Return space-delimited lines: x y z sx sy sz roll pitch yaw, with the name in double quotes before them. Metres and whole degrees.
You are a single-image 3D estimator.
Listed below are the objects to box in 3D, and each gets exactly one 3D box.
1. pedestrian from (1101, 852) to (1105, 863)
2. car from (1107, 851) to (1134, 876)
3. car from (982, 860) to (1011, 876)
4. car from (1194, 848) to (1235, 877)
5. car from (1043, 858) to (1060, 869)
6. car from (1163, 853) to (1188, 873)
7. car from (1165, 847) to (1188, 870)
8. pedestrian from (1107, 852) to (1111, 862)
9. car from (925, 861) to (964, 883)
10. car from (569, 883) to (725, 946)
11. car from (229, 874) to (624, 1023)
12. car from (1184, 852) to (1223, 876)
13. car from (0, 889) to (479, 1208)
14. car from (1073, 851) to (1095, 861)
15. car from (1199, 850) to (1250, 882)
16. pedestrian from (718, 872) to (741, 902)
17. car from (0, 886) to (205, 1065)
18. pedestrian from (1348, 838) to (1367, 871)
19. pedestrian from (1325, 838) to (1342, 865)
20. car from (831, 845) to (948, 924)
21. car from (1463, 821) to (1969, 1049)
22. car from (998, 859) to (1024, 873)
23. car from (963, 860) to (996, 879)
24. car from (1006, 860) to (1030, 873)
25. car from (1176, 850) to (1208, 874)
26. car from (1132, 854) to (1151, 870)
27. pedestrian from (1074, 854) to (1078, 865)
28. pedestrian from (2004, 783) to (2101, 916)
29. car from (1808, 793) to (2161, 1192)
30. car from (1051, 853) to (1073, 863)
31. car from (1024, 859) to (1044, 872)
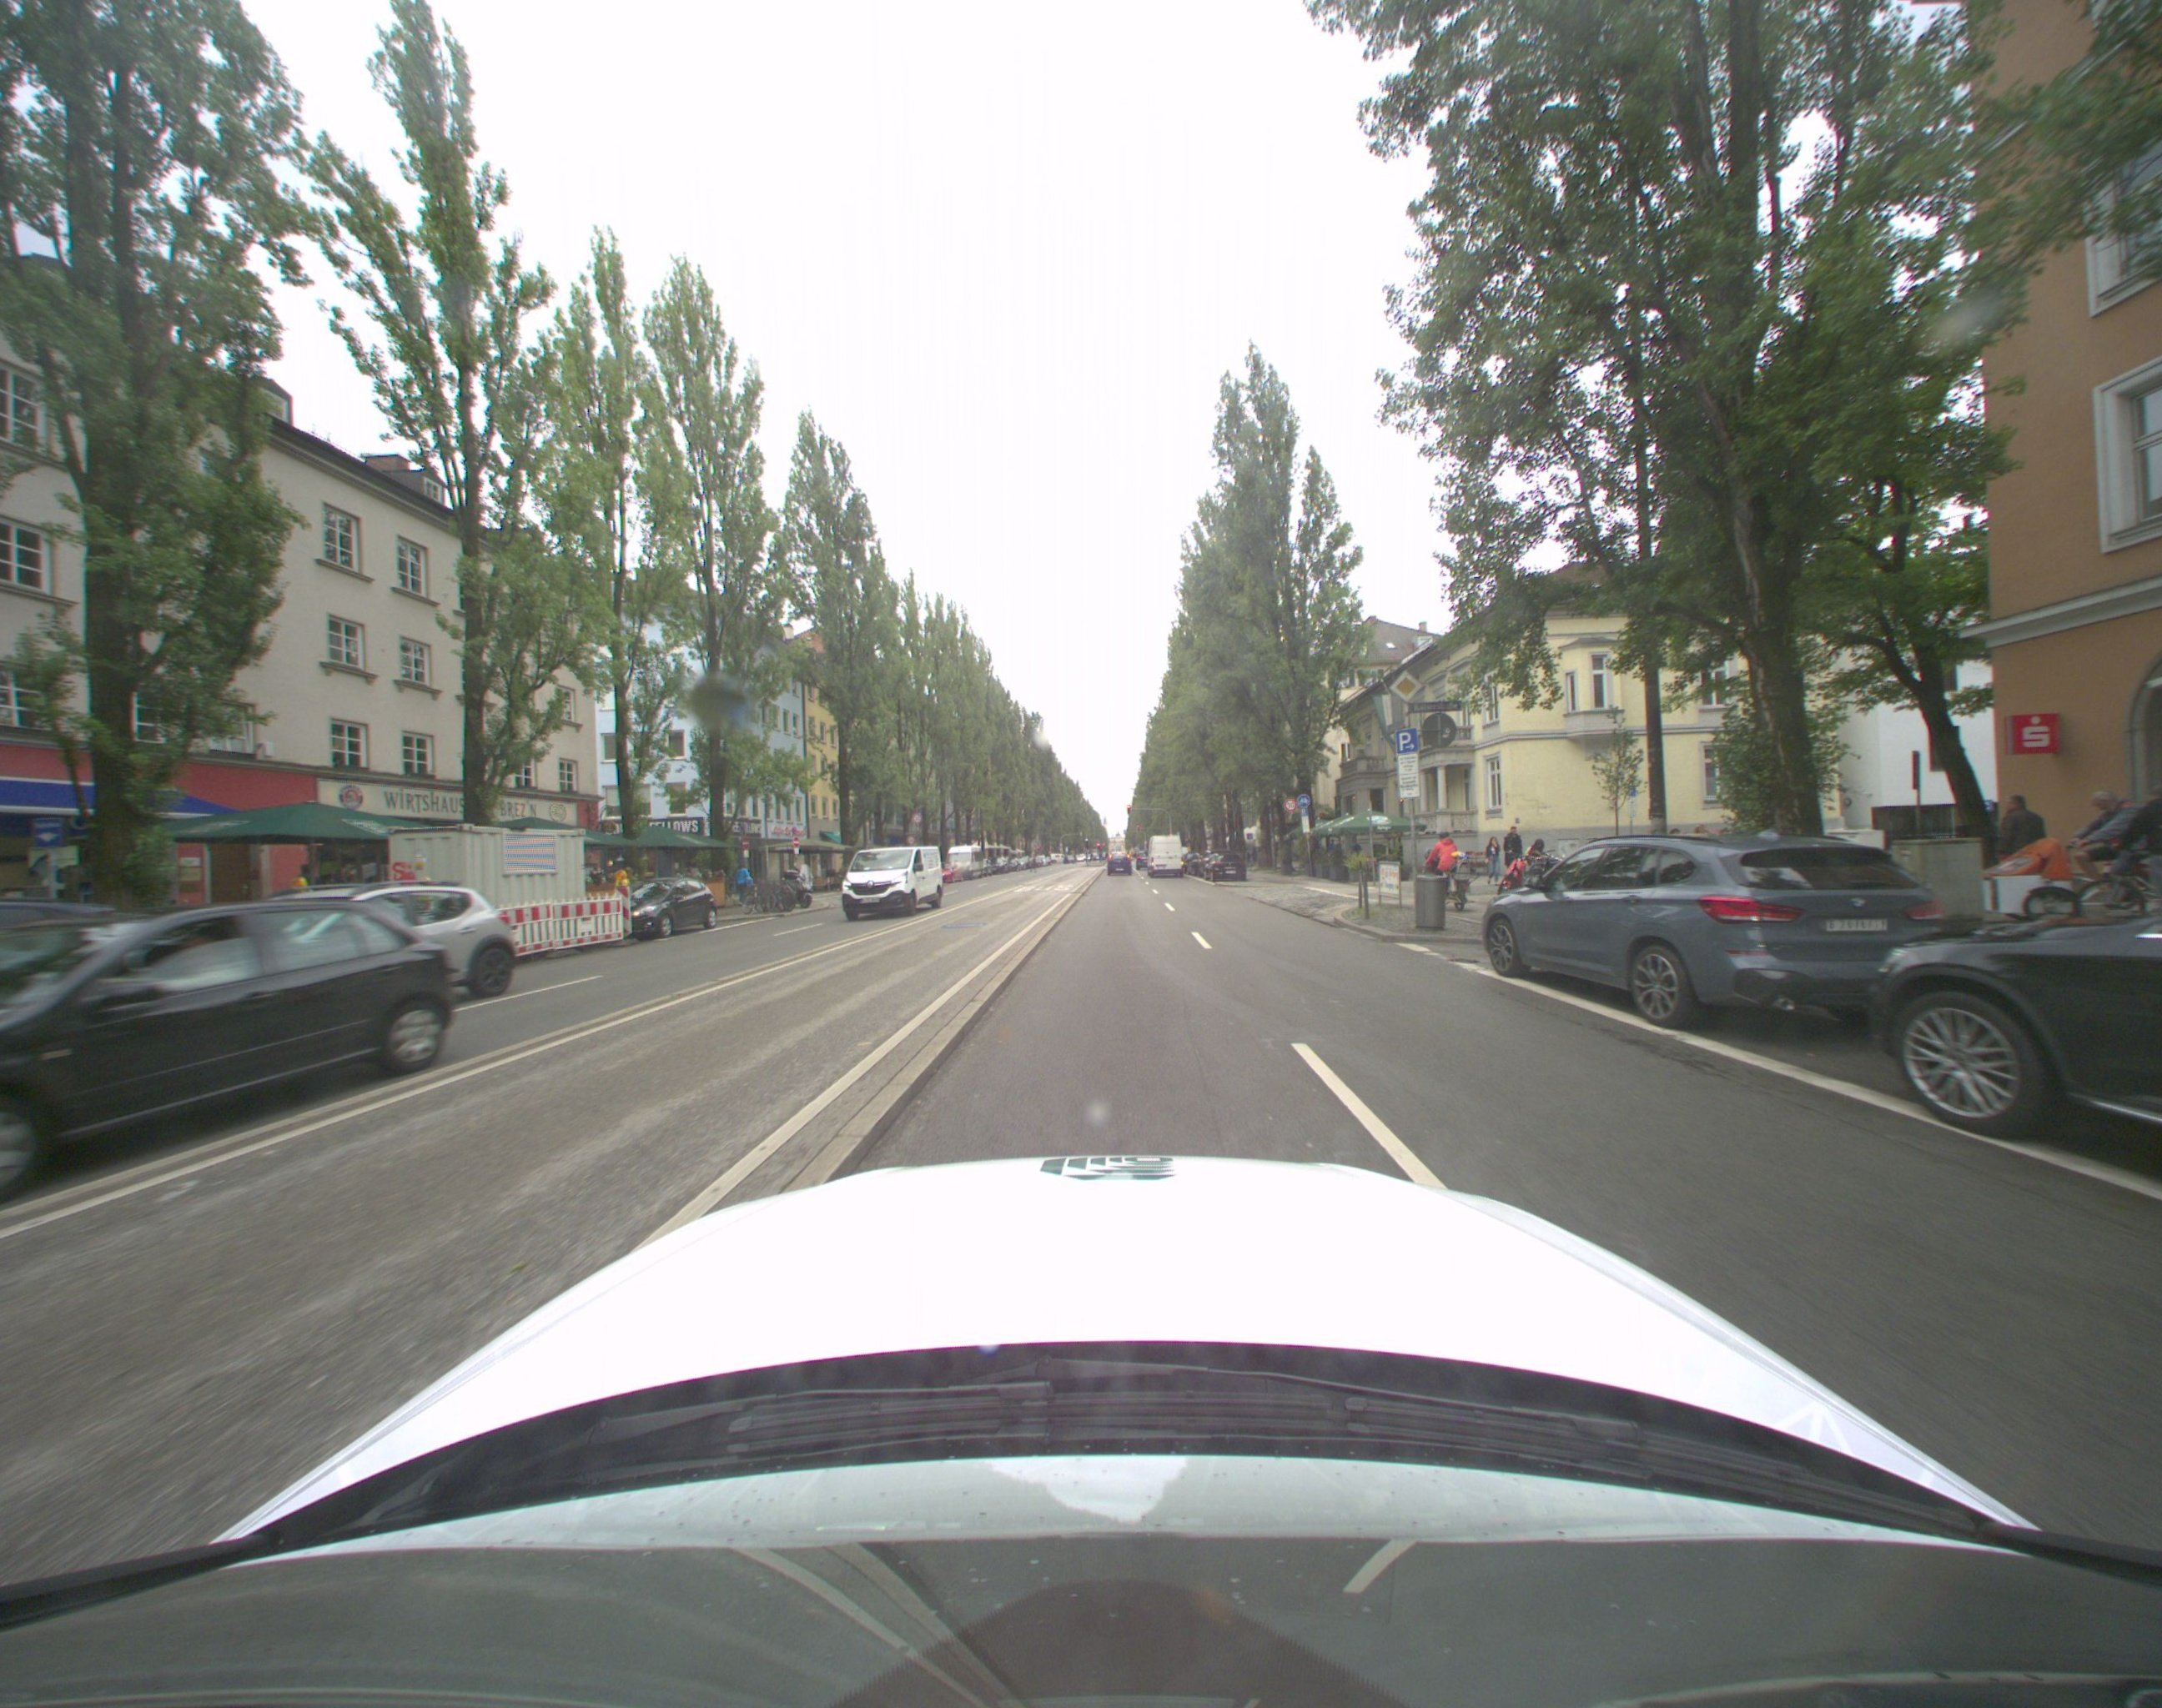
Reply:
"pedestrian" 3.654 0.544 133.893 0.551 1.716 0.493 -3 0 3
"car" 2.762 0.653 56.579 1.752 1.619 3.749 -1 -1 3
"car" -7.914 1.317 76.414 1.985 1.486 4.004 -1 -1 4
"car" 7.671 0.474 47.051 1.778 1.525 3.942 -2 0 2
"car" -4.415 1.393 122.427 1.808 1.531 3.803 -6 -1 5
"car" 7.813 0.759 67.735 1.756 1.596 4.002 -1 -1 2
"car" 8.616 0.391 73.781 1.798 1.992 4.002 -1 -1 2
"pedestrian" 4.585 0.513 135.039 0.551 1.716 0.493 -3 0 3
"car" -9.117 1.187 54.669 1.788 1.429 4.002 -1 -1 2
"car" -10.692 1.445 20.401 1.803 1.250 3.702 -2 0 1
"car" -8.486 1.115 11.123 1.816 1.532 4.007 -3 -1 7
"car" 7.732 0.648 51.829 1.986 1.464 4.002 -1 -1 2
"car" -6.083 1.049 5.105 1.705 1.414 3.724 -3 0 2
"car" 0.542 0.453 157.726 3.979 1.745 1.997 -2 0 -4
"car" 7.277 0.583 41.582 1.937 1.467 4.001 -3 0 1
"pedestrian" -19.218 1.808 44.515 0.791 1.542 0.898 -2 0 2
"car" -10.921 1.209 6.995 1.840 1.564 4.339 -3 0 5
"pedestrian" 15.948 0.025 46.918 0.758 1.853 0.740 -3 0 -1
"pedestrian" 17.184 -0.163 55.370 0.805 1.755 0.939 -3 0 34
"car" -5.461 0.831 23.965 1.986 1.934 4.920 -4 -1 2
"car" 5.576 0.578 8.027 1.617 1.565 4.373 -3 0 2
"car" -7.333 1.297 85.628 1.984 1.420 4.006 -1 -1 6
"car" -8.377 1.296 67.524 1.985 1.475 4.003 -1 -1 3
"car" -7.211 1.415 93.330 1.984 1.420 4.006 -1 -1 6
"car" 7.683 0.573 56.495 1.798 1.596 4.002 -1 -1 2
"car" 5.267 0.725 71.485 1.498 1.313 3.285 -2 0 2
"pedestrian" -0.804 0.890 133.265 0.551 1.716 0.493 -3 0 3
"pedestrian" 13.444 -0.059 11.294 0.567 1.772 0.759 -2 0 -45
"car" 5.328 0.530 2.642 1.874 1.642 4.584 -3 0 1
"car" -3.628 0.723 155.243 3.982 1.745 1.996 -1 -1 -6
"car" -5.934 1.461 103.920 1.922 1.486 4.114 -3 0 4
